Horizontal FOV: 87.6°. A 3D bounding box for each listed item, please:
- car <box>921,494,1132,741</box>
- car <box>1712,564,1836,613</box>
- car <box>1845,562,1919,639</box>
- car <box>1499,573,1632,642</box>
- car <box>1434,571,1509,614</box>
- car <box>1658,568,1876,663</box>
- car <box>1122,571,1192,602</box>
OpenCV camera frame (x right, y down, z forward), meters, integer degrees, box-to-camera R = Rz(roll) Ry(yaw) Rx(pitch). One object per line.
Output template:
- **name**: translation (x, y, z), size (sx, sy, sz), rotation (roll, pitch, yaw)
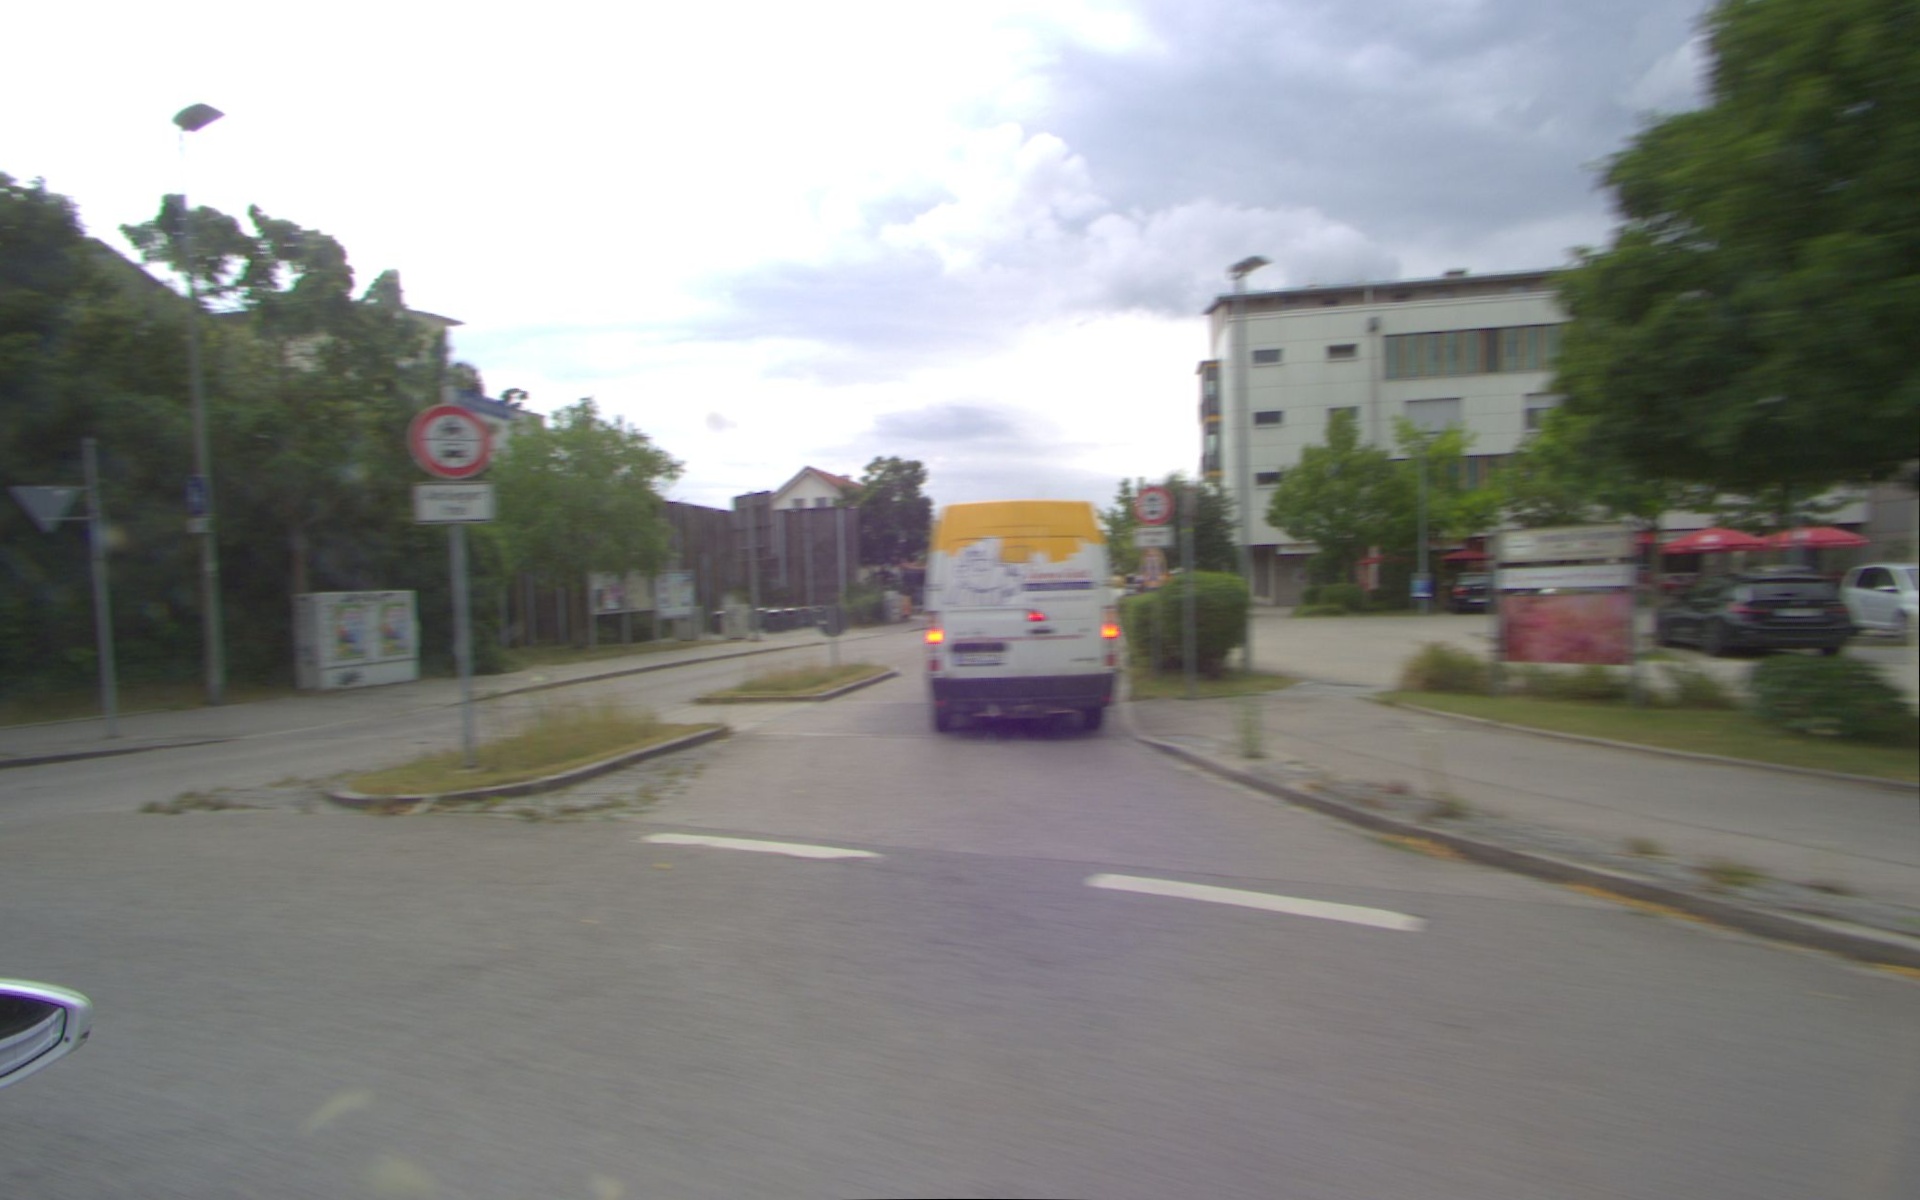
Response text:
- **car**: translation (0.608, 0.149, 12.868), size (2.127, 2.485, 5.440), rotation (-1, 1, -2)
- **car**: translation (26.691, -0.411, 32.993), size (1.789, 1.477, 3.992), rotation (-1, 1, 17)
- **car**: translation (20.656, 0.030, 21.211), size (1.845, 1.530, 4.073), rotation (-1, -1, 27)
- **car**: translation (14.327, 0.180, 23.940), size (1.789, 1.476, 3.993), rotation (-1, 0, 17)
- **car**: translation (18.814, -0.304, 36.969), size (1.789, 1.477, 3.992), rotation (-1, 1, 17)
- **car**: translation (13.936, 0.202, 17.592), size (1.790, 1.477, 3.989), rotation (-1, 1, 21)
- **car**: translation (12.237, -0.824, 62.218), size (3.933, 1.755, 1.650), rotation (-2, 1, -22)
